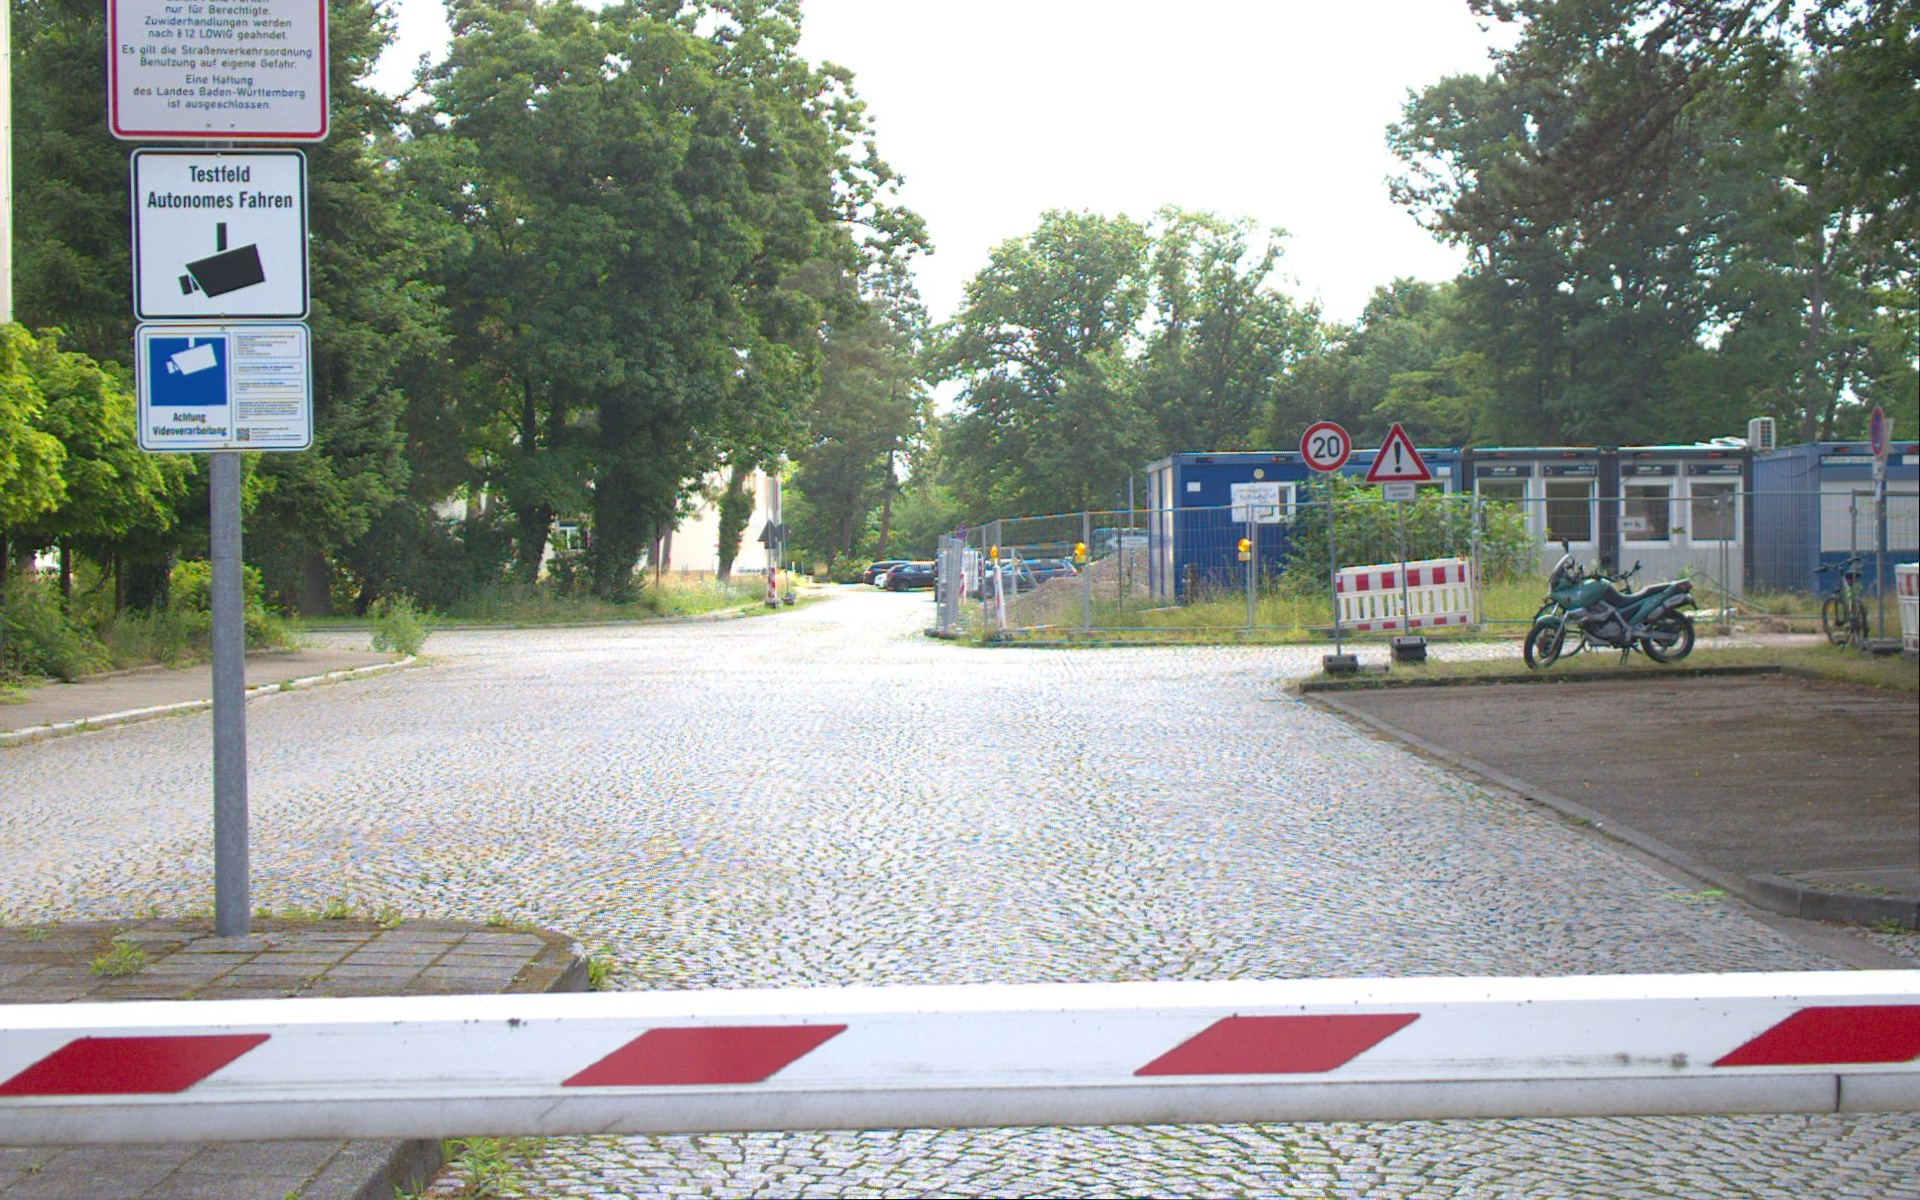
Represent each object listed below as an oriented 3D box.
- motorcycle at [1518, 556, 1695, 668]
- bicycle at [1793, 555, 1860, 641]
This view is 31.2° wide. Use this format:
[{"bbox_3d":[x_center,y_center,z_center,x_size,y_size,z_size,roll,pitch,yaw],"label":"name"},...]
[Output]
[{"bbox_3d":[7.545,0.138,40.126,1.956,1.191,0.461,-2,6,-1],"label":"motorcycle"},{"bbox_3d":[10.496,-0.009,41.663,0.332,1.004,1.726,-1,-1,-1],"label":"bicycle"}]
